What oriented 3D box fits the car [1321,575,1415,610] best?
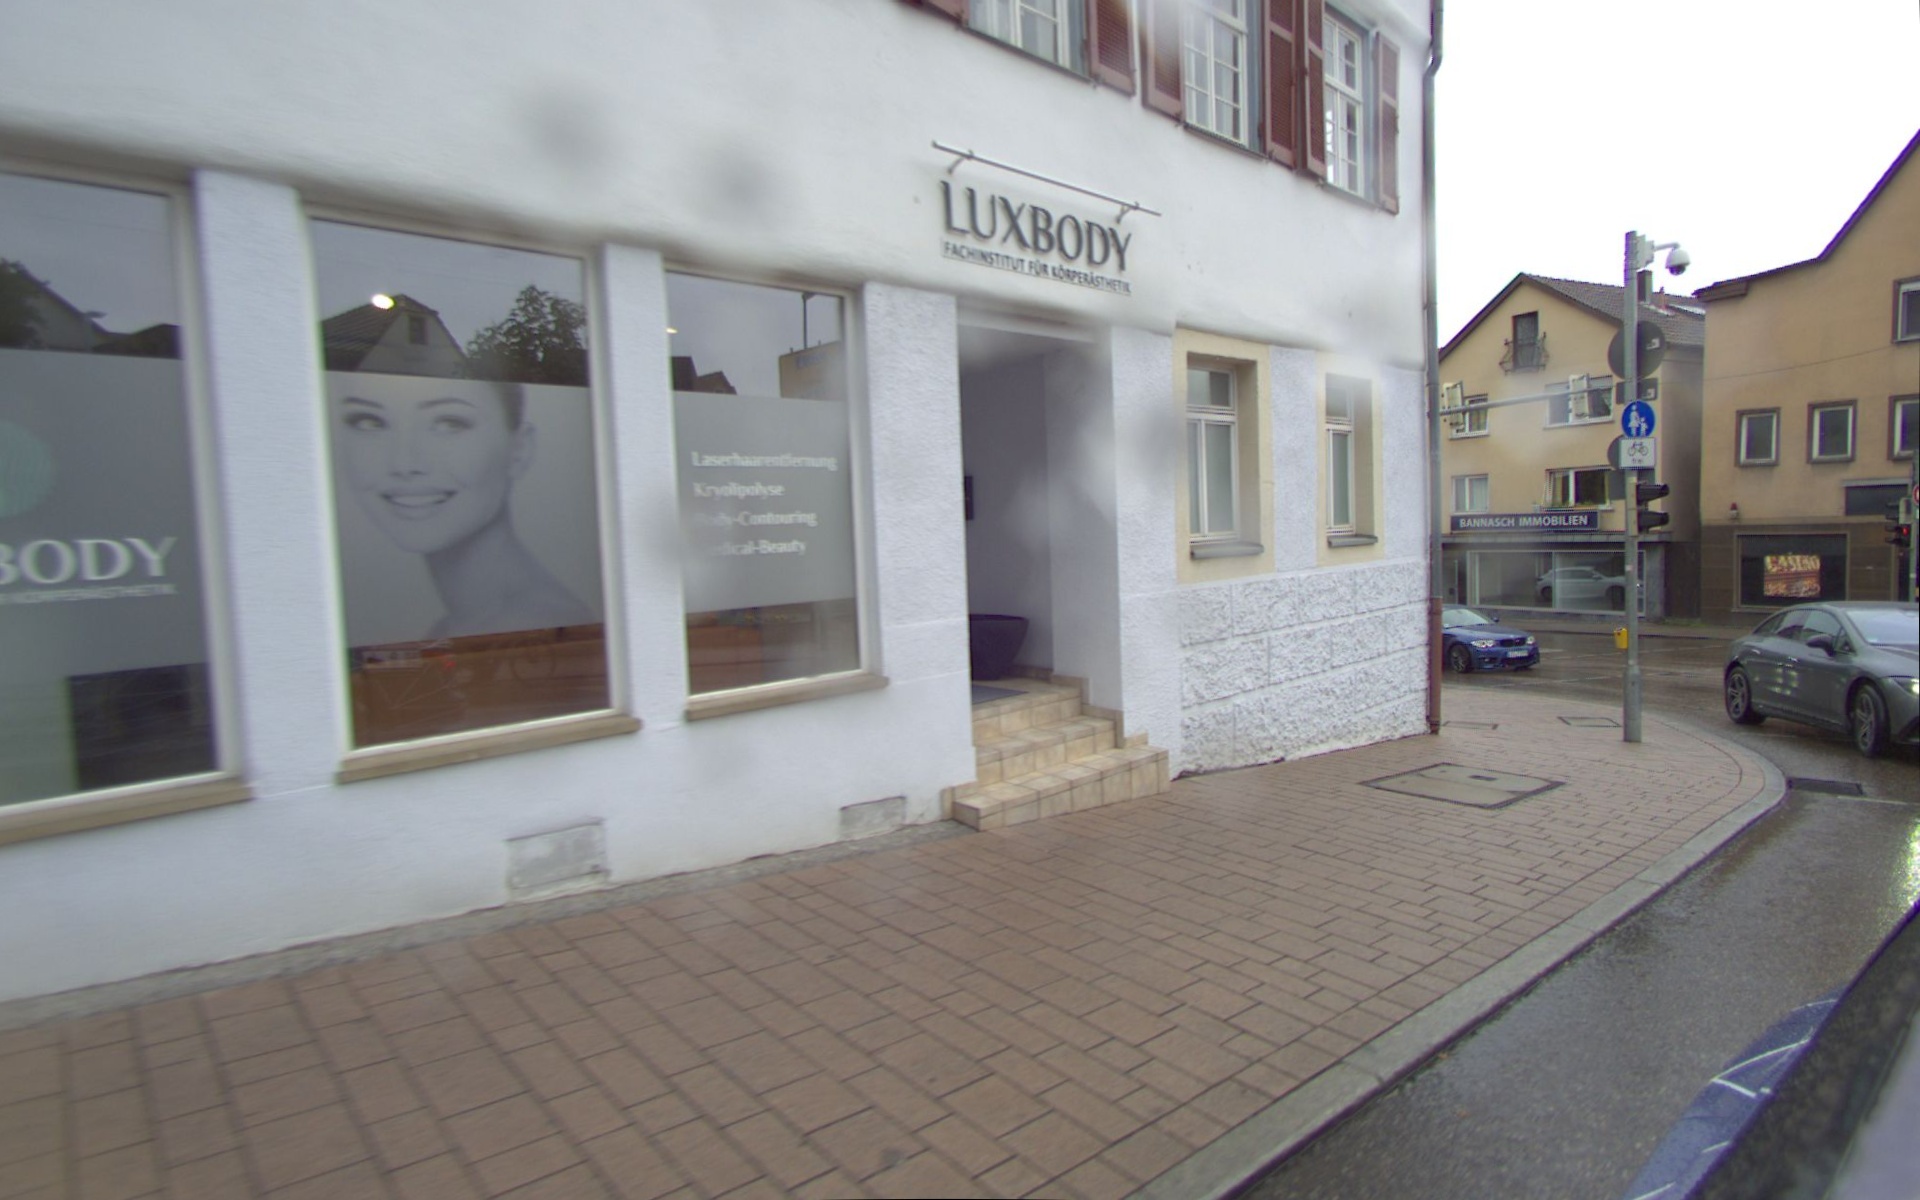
[{"bbox_3d":[18.131,-0.349,44.911,3.921,1.472,1.902,0,1,-31],"label":"car"}]

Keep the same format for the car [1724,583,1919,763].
[{"bbox_3d":[9.979,0.620,10.453,1.974,1.512,4.288,-3,0,18],"label":"car"}]

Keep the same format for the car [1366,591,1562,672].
[{"bbox_3d":[11.411,0.629,23.308,1.738,1.551,4.387,-1,2,-11],"label":"car"}]
